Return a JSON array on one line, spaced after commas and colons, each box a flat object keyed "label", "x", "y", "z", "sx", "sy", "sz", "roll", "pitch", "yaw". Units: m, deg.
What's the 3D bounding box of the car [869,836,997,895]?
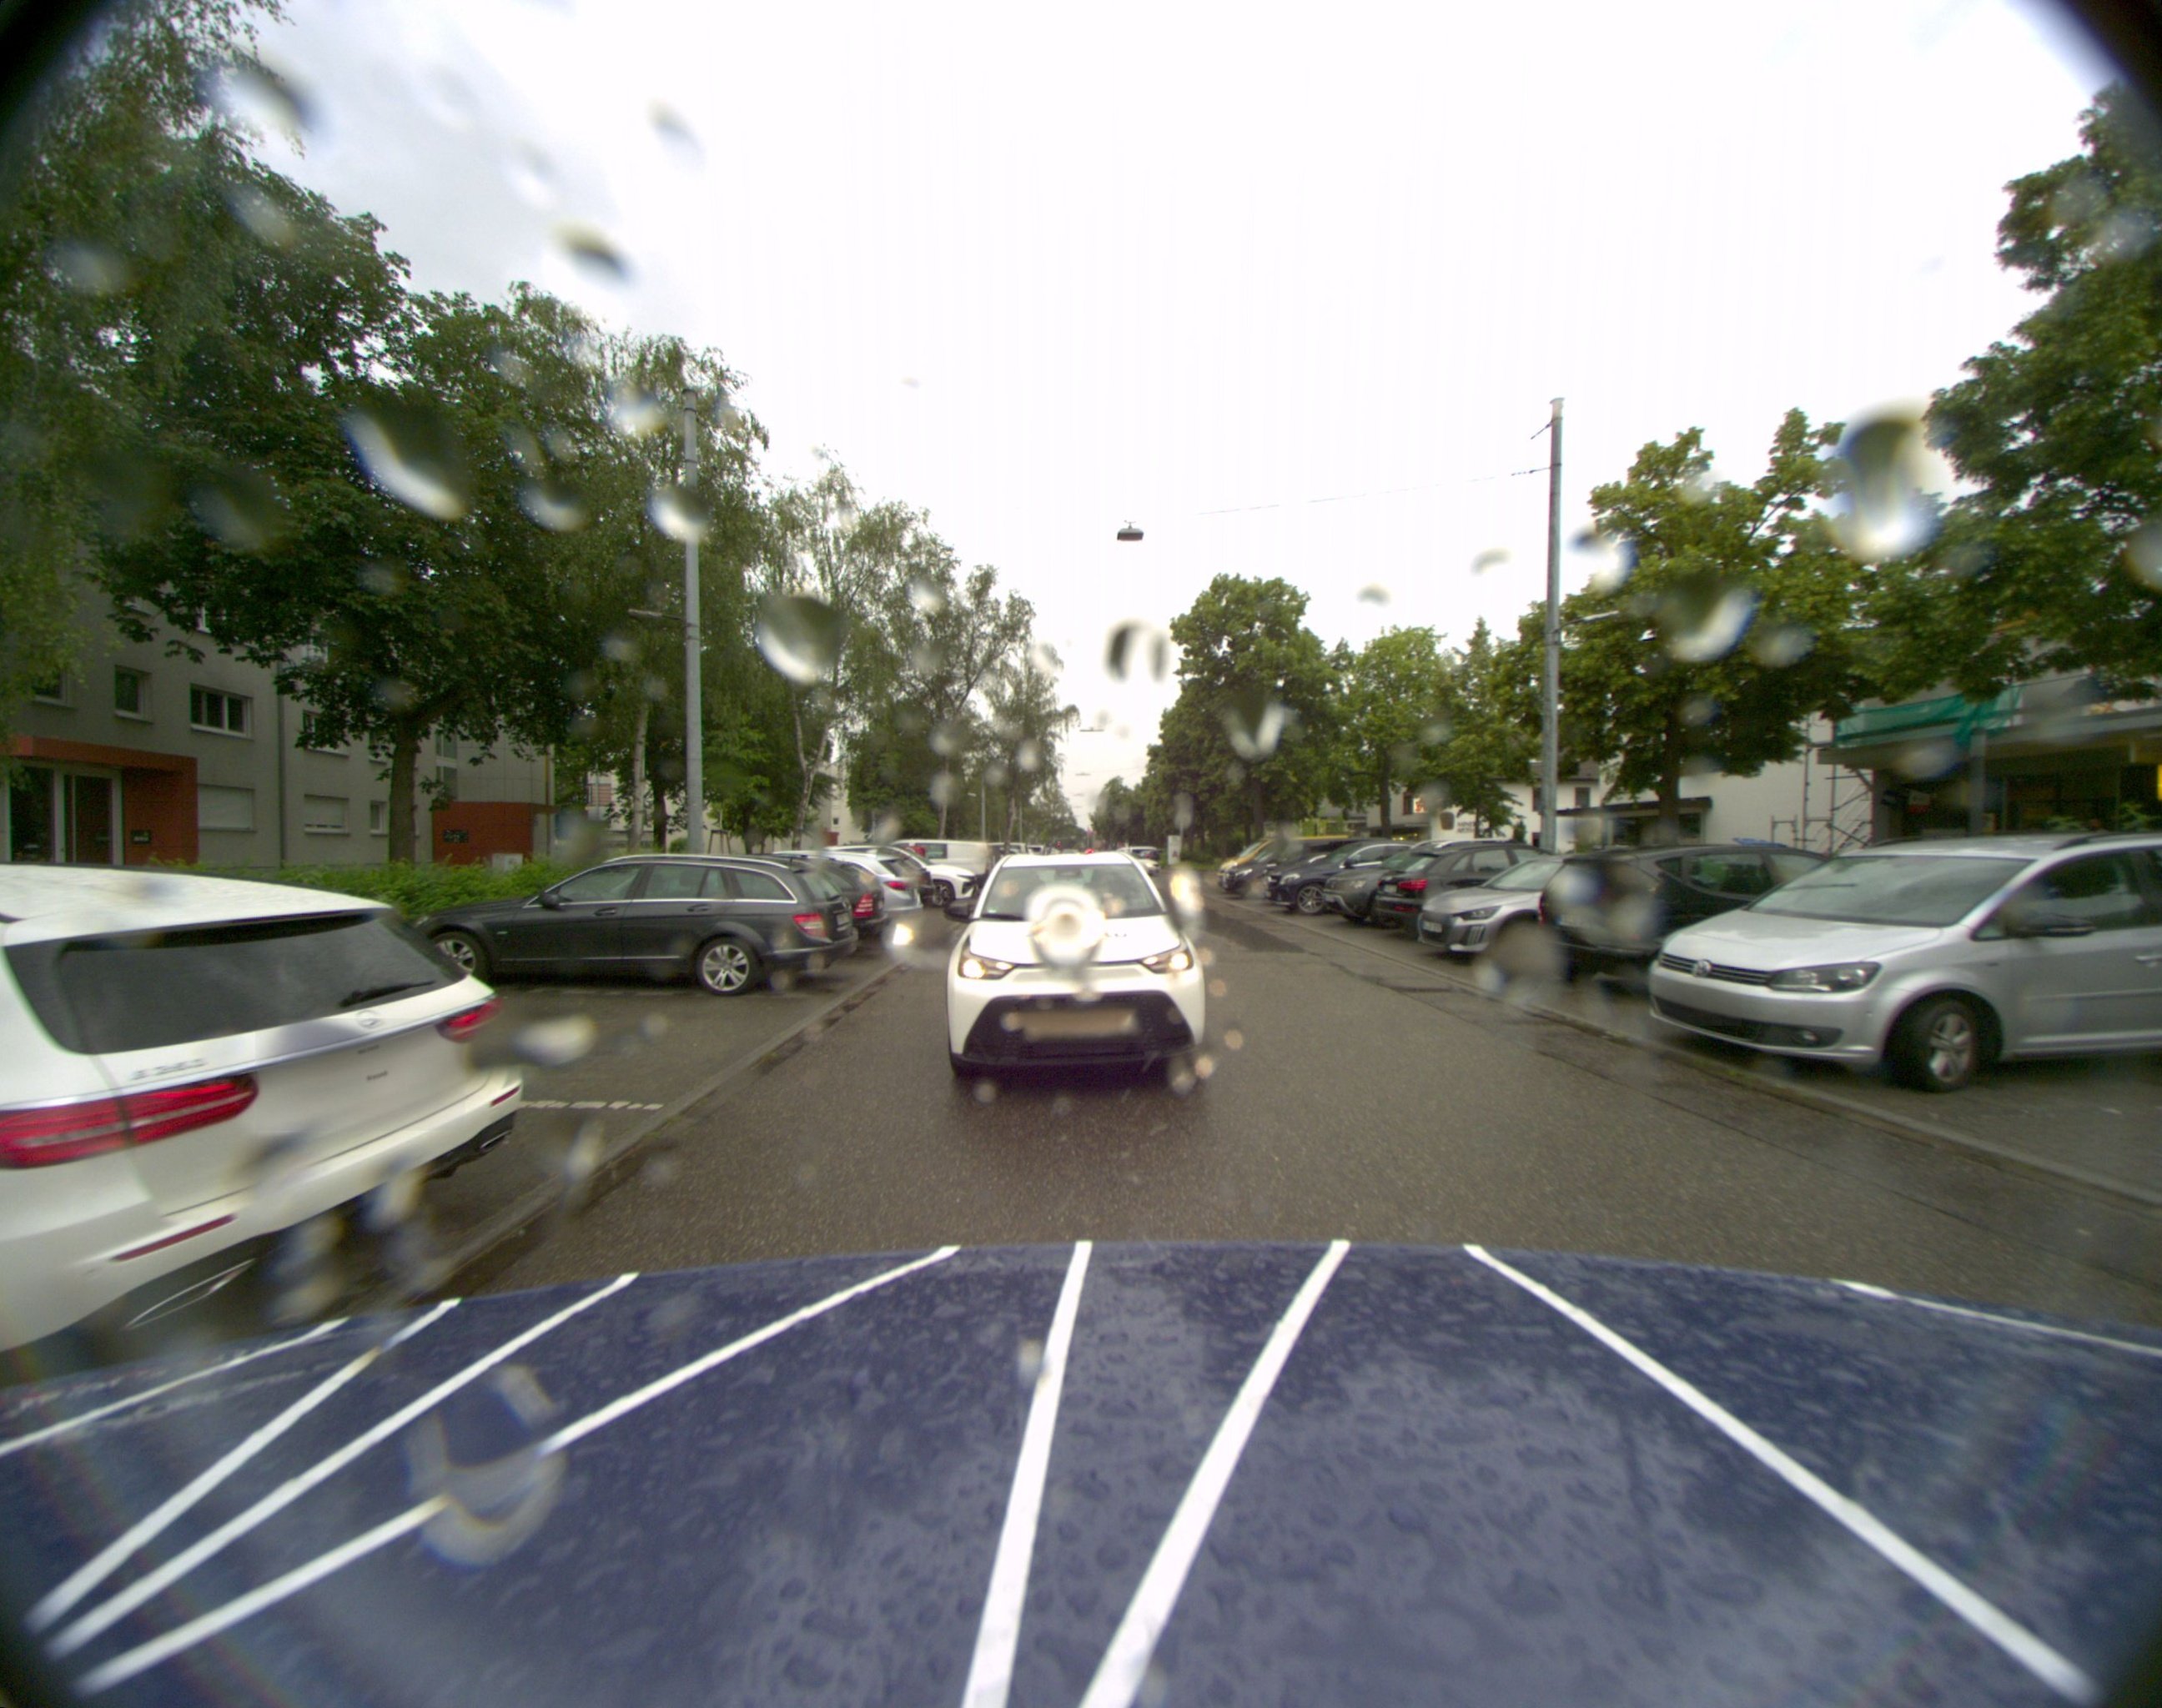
[{"label": "car", "x": -5.089, "y": 0.391, "z": 26.551, "sx": 4.182, "sy": 1.856, "sz": 1.679, "roll": 2, "pitch": 1, "yaw": -6}]

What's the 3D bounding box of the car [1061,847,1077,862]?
[{"label": "car", "x": -1.582, "y": 0.040, "z": 100.683, "sx": 1.998, "sy": 1.804, "sz": 3.999, "roll": -2, "pitch": 1, "yaw": 1}]

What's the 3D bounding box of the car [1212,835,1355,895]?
[{"label": "car", "x": 7.201, "y": 0.369, "z": 27.293, "sx": 4.657, "sy": 1.947, "sz": 1.715, "roll": -2, "pitch": 1, "yaw": -2}]

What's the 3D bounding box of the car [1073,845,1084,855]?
[{"label": "car", "x": -0.464, "y": -0.800, "z": 142.170, "sx": 1.998, "sy": 1.804, "sz": 3.999, "roll": -2, "pitch": 1, "yaw": 1}]

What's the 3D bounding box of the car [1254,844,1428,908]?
[{"label": "car", "x": 7.244, "y": 0.587, "z": 21.408, "sx": 4.283, "sy": 1.618, "sz": 1.715, "roll": -2, "pitch": 1, "yaw": -2}]

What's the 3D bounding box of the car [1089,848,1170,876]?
[{"label": "car", "x": 2.838, "y": 0.462, "z": 44.780, "sx": 4.247, "sy": 1.446, "sz": 2.003, "roll": -2, "pitch": 1, "yaw": 27}]

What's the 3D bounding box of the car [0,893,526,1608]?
[{"label": "car", "x": -4.739, "y": 0.897, "z": 2.456, "sx": 4.623, "sy": 1.431, "sz": 1.680, "roll": 2, "pitch": 1, "yaw": 0}]

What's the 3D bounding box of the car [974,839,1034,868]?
[{"label": "car", "x": -5.491, "y": -0.063, "z": 54.507, "sx": 3.995, "sy": 1.903, "sz": 1.902, "roll": -2, "pitch": 1, "yaw": 5}]

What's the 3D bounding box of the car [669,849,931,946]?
[{"label": "car", "x": -4.877, "y": 0.735, "z": 13.606, "sx": 4.049, "sy": 1.488, "sz": 1.679, "roll": 2, "pitch": 1, "yaw": -3}]

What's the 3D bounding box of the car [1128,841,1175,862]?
[{"label": "car", "x": 6.368, "y": -0.232, "z": 69.156, "sx": 3.998, "sy": 1.675, "sz": 1.999, "roll": -2, "pitch": 1, "yaw": -3}]

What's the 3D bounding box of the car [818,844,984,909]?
[{"label": "car", "x": -4.965, "y": 0.597, "z": 21.294, "sx": 4.179, "sy": 1.609, "sz": 1.680, "roll": 2, "pitch": 1, "yaw": 1}]

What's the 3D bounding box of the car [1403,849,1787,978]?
[{"label": "car", "x": 7.029, "y": 0.760, "z": 10.676, "sx": 4.283, "sy": 1.524, "sz": 1.715, "roll": -2, "pitch": 1, "yaw": -2}]

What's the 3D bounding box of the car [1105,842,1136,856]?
[{"label": "car", "x": 5.277, "y": -0.705, "z": 101.977, "sx": 3.998, "sy": 1.675, "sz": 1.999, "roll": -2, "pitch": 1, "yaw": -3}]

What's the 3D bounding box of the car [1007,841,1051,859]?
[{"label": "car", "x": -5.114, "y": -0.393, "z": 75.361, "sx": 3.995, "sy": 1.670, "sz": 1.902, "roll": -2, "pitch": 1, "yaw": 5}]

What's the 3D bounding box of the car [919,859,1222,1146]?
[{"label": "car", "x": -0.139, "y": 0.882, "z": 6.538, "sx": 1.733, "sy": 1.519, "sz": 4.137, "roll": -2, "pitch": 1, "yaw": -2}]

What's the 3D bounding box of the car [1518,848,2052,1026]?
[{"label": "car", "x": 7.282, "y": 0.784, "z": 8.135, "sx": 4.283, "sy": 1.557, "sz": 1.635, "roll": -2, "pitch": 1, "yaw": -2}]

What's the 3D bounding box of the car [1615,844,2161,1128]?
[{"label": "car", "x": 6.629, "y": 0.797, "z": 5.570, "sx": 4.283, "sy": 1.625, "sz": 1.715, "roll": -2, "pitch": 1, "yaw": -2}]

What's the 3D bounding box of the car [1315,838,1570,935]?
[{"label": "car", "x": 7.115, "y": 0.602, "z": 15.217, "sx": 4.283, "sy": 1.717, "sz": 1.715, "roll": -2, "pitch": 1, "yaw": -2}]

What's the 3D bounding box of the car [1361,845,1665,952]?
[{"label": "car", "x": 7.279, "y": 0.697, "z": 13.057, "sx": 4.283, "sy": 1.586, "sz": 1.715, "roll": -2, "pitch": 1, "yaw": -2}]

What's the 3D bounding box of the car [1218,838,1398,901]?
[{"label": "car", "x": 7.138, "y": 0.467, "z": 24.191, "sx": 5.177, "sy": 1.789, "sz": 1.715, "roll": -2, "pitch": 1, "yaw": -2}]

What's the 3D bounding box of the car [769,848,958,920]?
[{"label": "car", "x": -5.129, "y": 0.688, "z": 18.281, "sx": 4.049, "sy": 1.488, "sz": 1.679, "roll": 2, "pitch": 1, "yaw": -3}]

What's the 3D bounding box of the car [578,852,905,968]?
[{"label": "car", "x": -4.842, "y": 0.778, "z": 11.276, "sx": 4.049, "sy": 1.431, "sz": 1.679, "roll": 2, "pitch": 1, "yaw": -3}]

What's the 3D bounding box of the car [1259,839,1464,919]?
[{"label": "car", "x": 6.666, "y": 0.561, "z": 18.302, "sx": 4.283, "sy": 1.717, "sz": 1.715, "roll": -2, "pitch": 1, "yaw": -2}]

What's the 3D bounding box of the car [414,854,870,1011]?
[{"label": "car", "x": -4.625, "y": 0.806, "z": 8.482, "sx": 4.049, "sy": 1.431, "sz": 1.679, "roll": 2, "pitch": 1, "yaw": -3}]

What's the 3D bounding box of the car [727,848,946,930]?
[{"label": "car", "x": -5.001, "y": 0.694, "z": 15.972, "sx": 4.049, "sy": 1.488, "sz": 1.679, "roll": 2, "pitch": 1, "yaw": -3}]

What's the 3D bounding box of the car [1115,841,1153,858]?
[{"label": "car", "x": 5.845, "y": -0.472, "z": 84.117, "sx": 3.998, "sy": 1.675, "sz": 1.999, "roll": -2, "pitch": 1, "yaw": -3}]

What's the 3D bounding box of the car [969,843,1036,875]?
[{"label": "car", "x": -5.072, "y": 0.290, "z": 49.668, "sx": 3.995, "sy": 1.903, "sz": 1.902, "roll": -2, "pitch": 1, "yaw": 5}]
